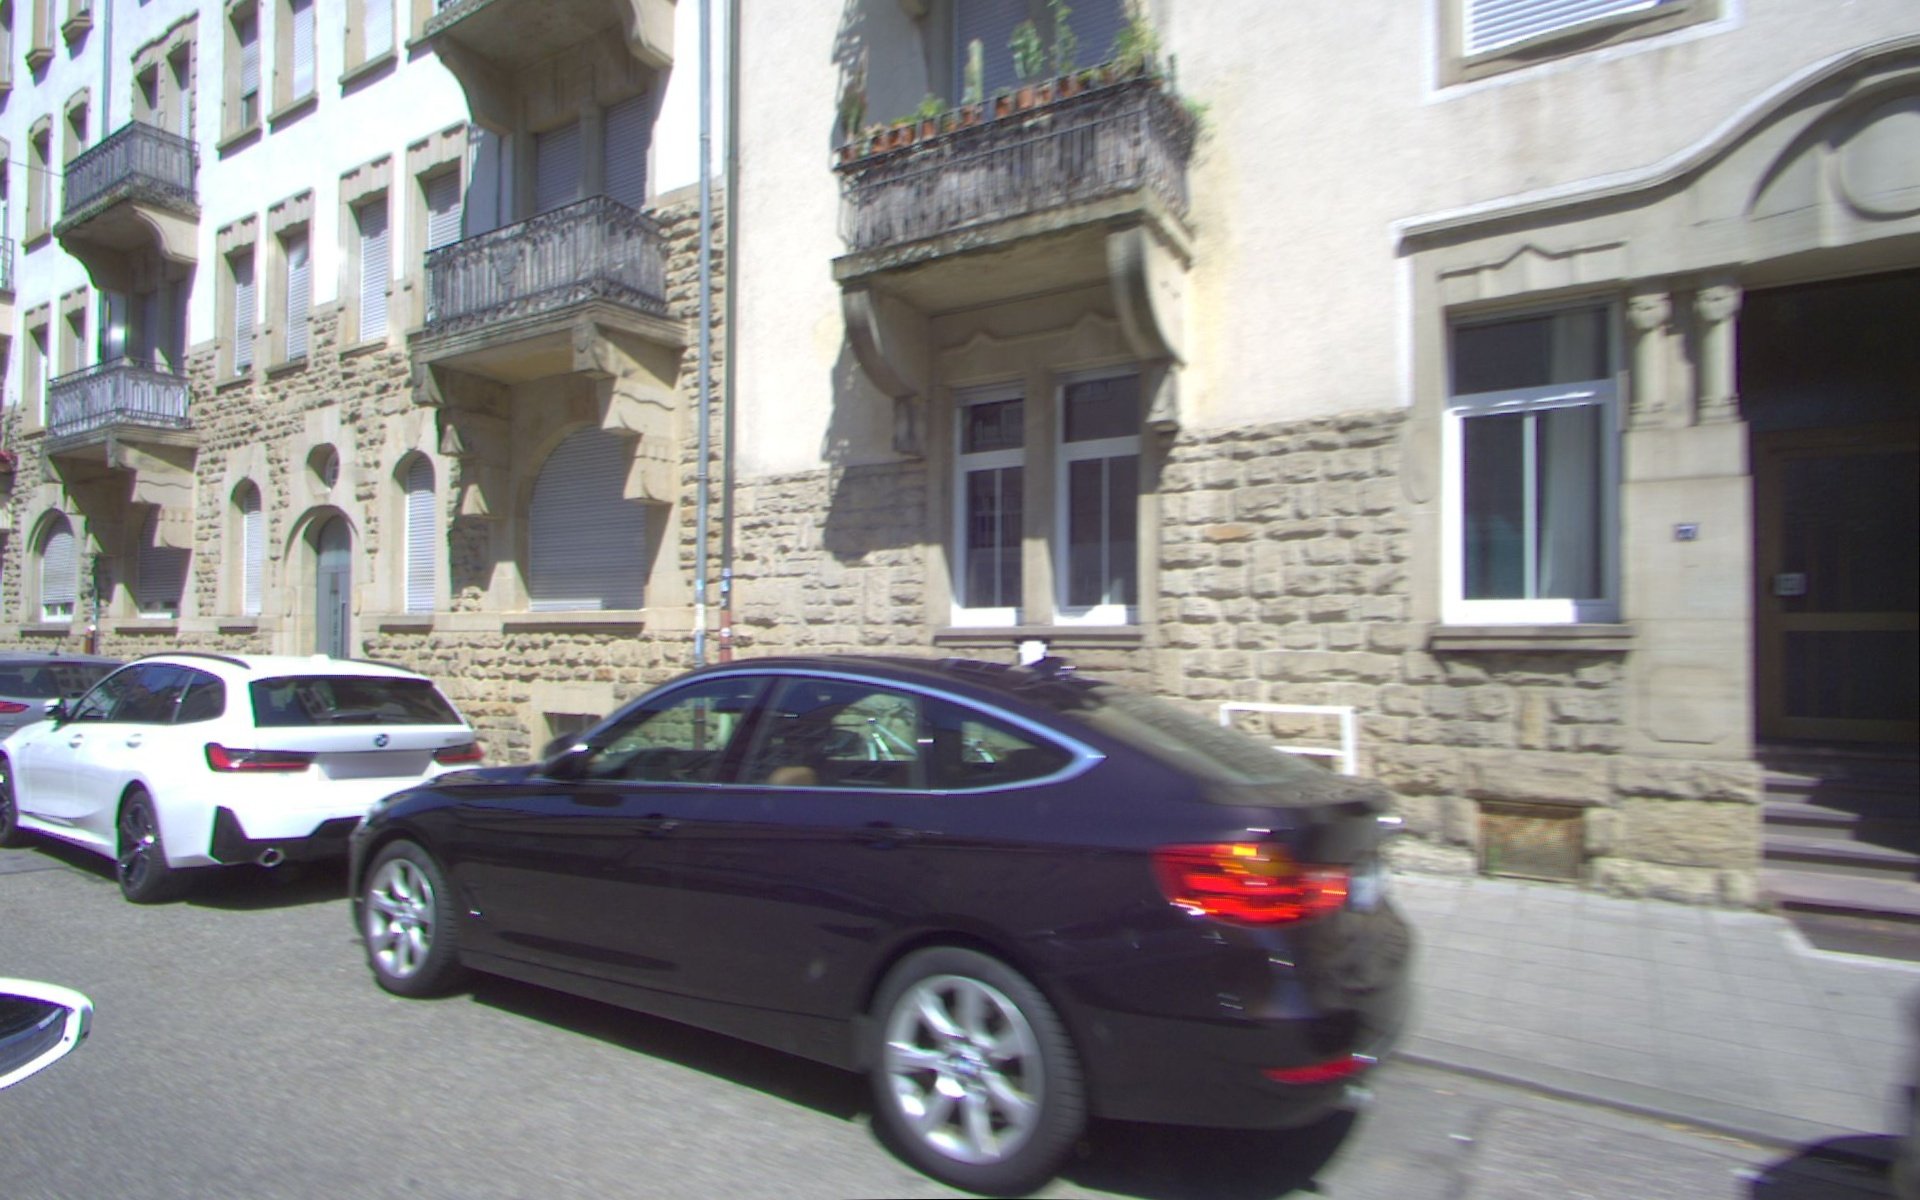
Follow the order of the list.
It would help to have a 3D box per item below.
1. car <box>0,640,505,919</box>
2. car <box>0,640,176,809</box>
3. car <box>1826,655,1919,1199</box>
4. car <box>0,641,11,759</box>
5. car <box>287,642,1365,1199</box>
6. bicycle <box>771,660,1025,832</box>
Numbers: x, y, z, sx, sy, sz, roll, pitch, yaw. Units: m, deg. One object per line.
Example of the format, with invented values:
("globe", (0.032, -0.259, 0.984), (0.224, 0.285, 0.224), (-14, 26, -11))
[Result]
("car", (-5.437, 1.060, 7.296), (4.534, 1.470, 1.714), (-1, -5, 34))
("car", (-9.689, 1.159, 10.155), (3.803, 1.470, 1.587), (-1, -5, 34))
("car", (4.020, 0.818, 1.035), (4.422, 1.450, 1.822), (-1, -3, 30))
("car", (-13.989, 1.230, 12.911), (3.787, 1.470, 1.569), (-1, -5, 32))
("car", (-0.840, 0.930, 4.346), (4.601, 1.476, 1.734), (-1, -2, 32))
("bicycle", (-0.549, 1.132, 8.254), (2.095, 1.206, 0.638), (-1, 1, 33))
